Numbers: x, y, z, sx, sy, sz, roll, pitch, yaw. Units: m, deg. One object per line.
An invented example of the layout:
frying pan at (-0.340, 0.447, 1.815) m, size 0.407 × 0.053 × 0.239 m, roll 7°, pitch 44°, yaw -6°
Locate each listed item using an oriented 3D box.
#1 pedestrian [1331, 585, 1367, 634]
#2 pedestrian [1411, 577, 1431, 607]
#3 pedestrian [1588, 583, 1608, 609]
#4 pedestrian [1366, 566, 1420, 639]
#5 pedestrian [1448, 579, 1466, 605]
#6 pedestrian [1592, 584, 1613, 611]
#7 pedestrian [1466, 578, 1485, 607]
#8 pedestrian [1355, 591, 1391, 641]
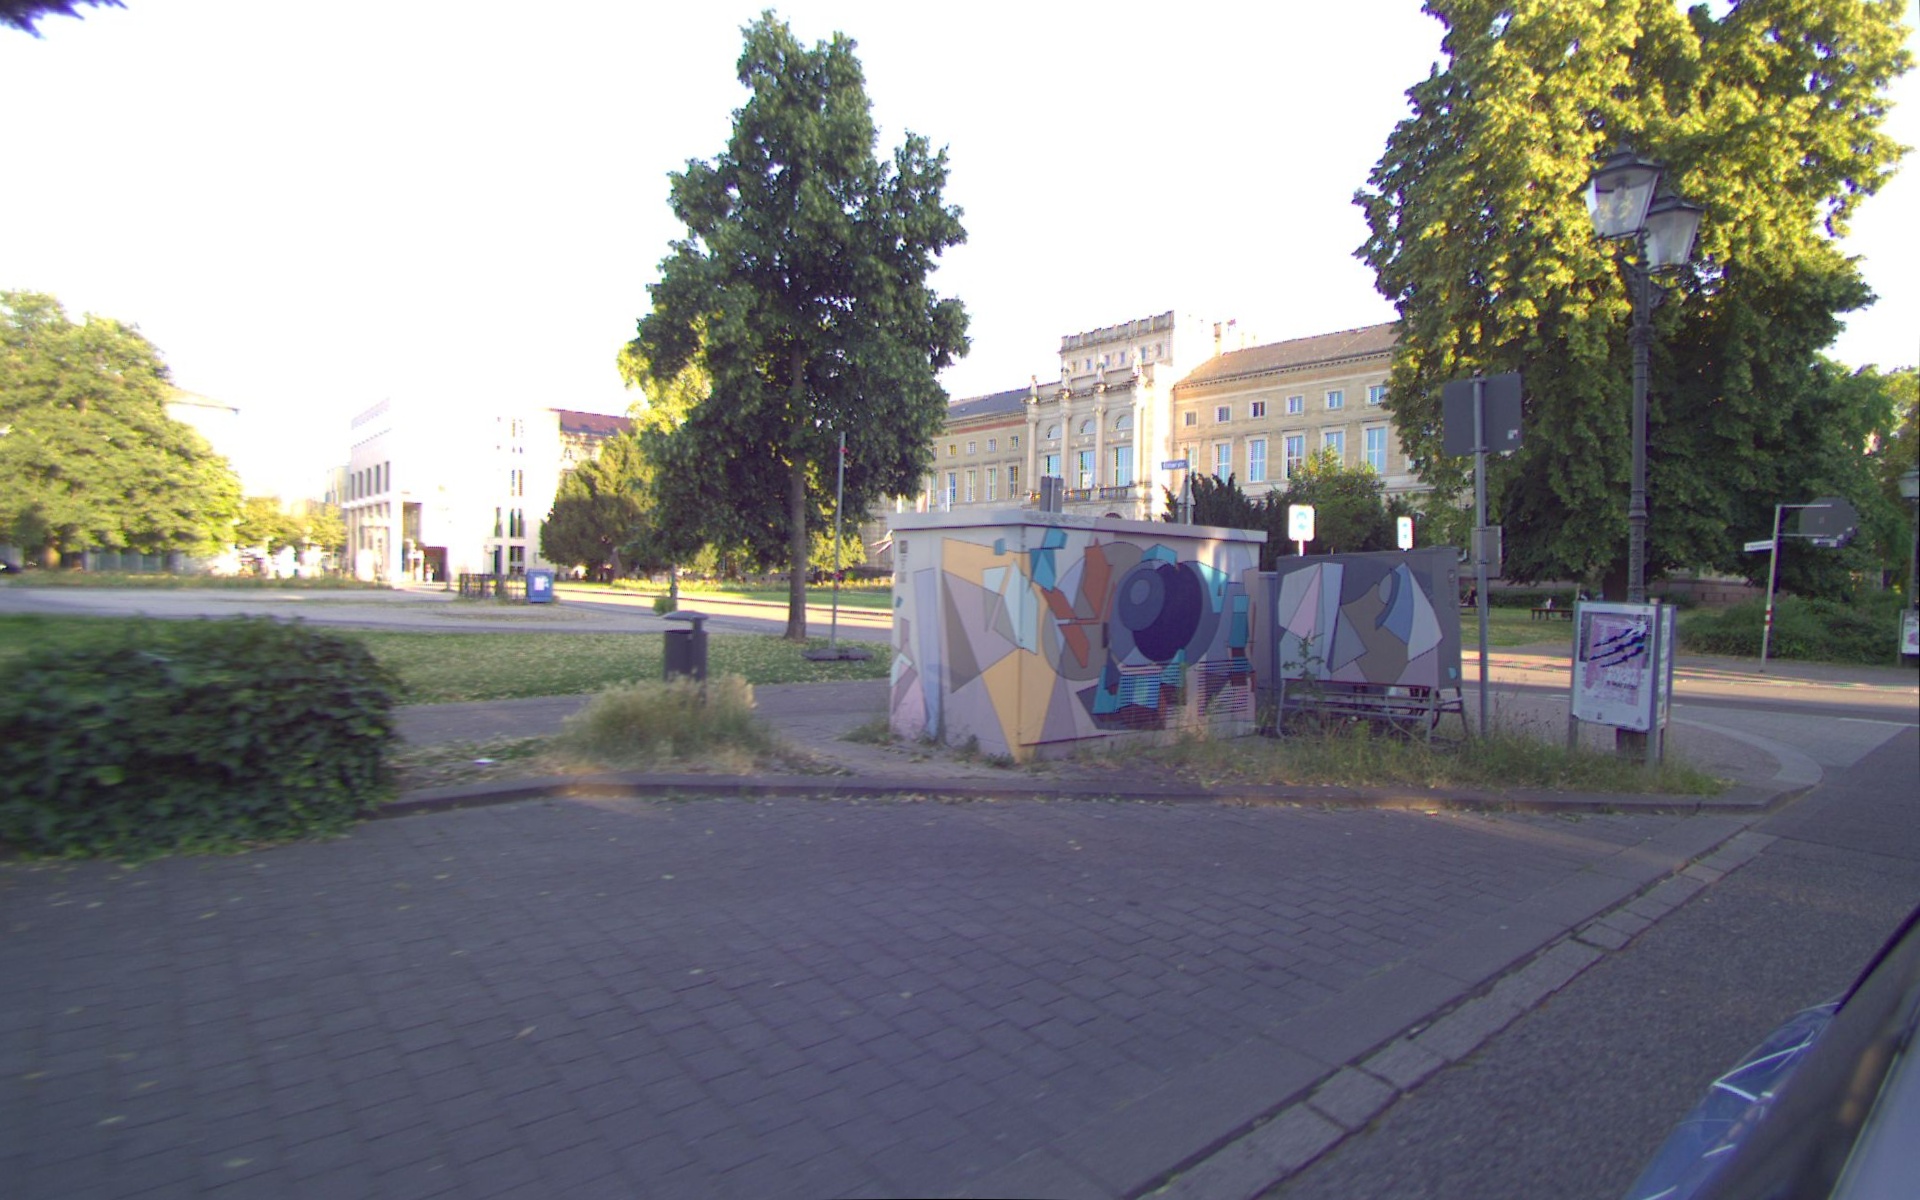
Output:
pedestrian at (10.023, 0.226, 26.064) m, size 0.526 × 1.219 × 0.955 m, roll 2°, pitch 2°, yaw 44°
pedestrian at (22.958, -0.408, 50.428) m, size 0.742 × 1.462 × 0.814 m, roll 2°, pitch 1°, yaw 16°
pedestrian at (26.294, -0.166, 41.703) m, size 0.596 × 1.063 × 0.393 m, roll 2°, pitch 1°, yaw 17°
pedestrian at (10.163, 0.044, 23.767) m, size 0.743 × 1.646 × 0.859 m, roll 0°, pitch 2°, yaw -36°
pedestrian at (21.629, -0.349, 44.038) m, size 0.593 × 1.122 × 0.395 m, roll 1°, pitch 1°, yaw 5°
pedestrian at (26.097, -0.112, 41.100) m, size 0.595 × 1.063 × 0.394 m, roll 2°, pitch 1°, yaw 14°
pedestrian at (22.296, -0.330, 43.741) m, size 0.594 × 1.217 × 0.394 m, roll 2°, pitch 1°, yaw 10°
pedestrian at (10.471, 0.393, 25.652) m, size 0.606 × 1.219 × 0.656 m, roll 2°, pitch 2°, yaw 44°
